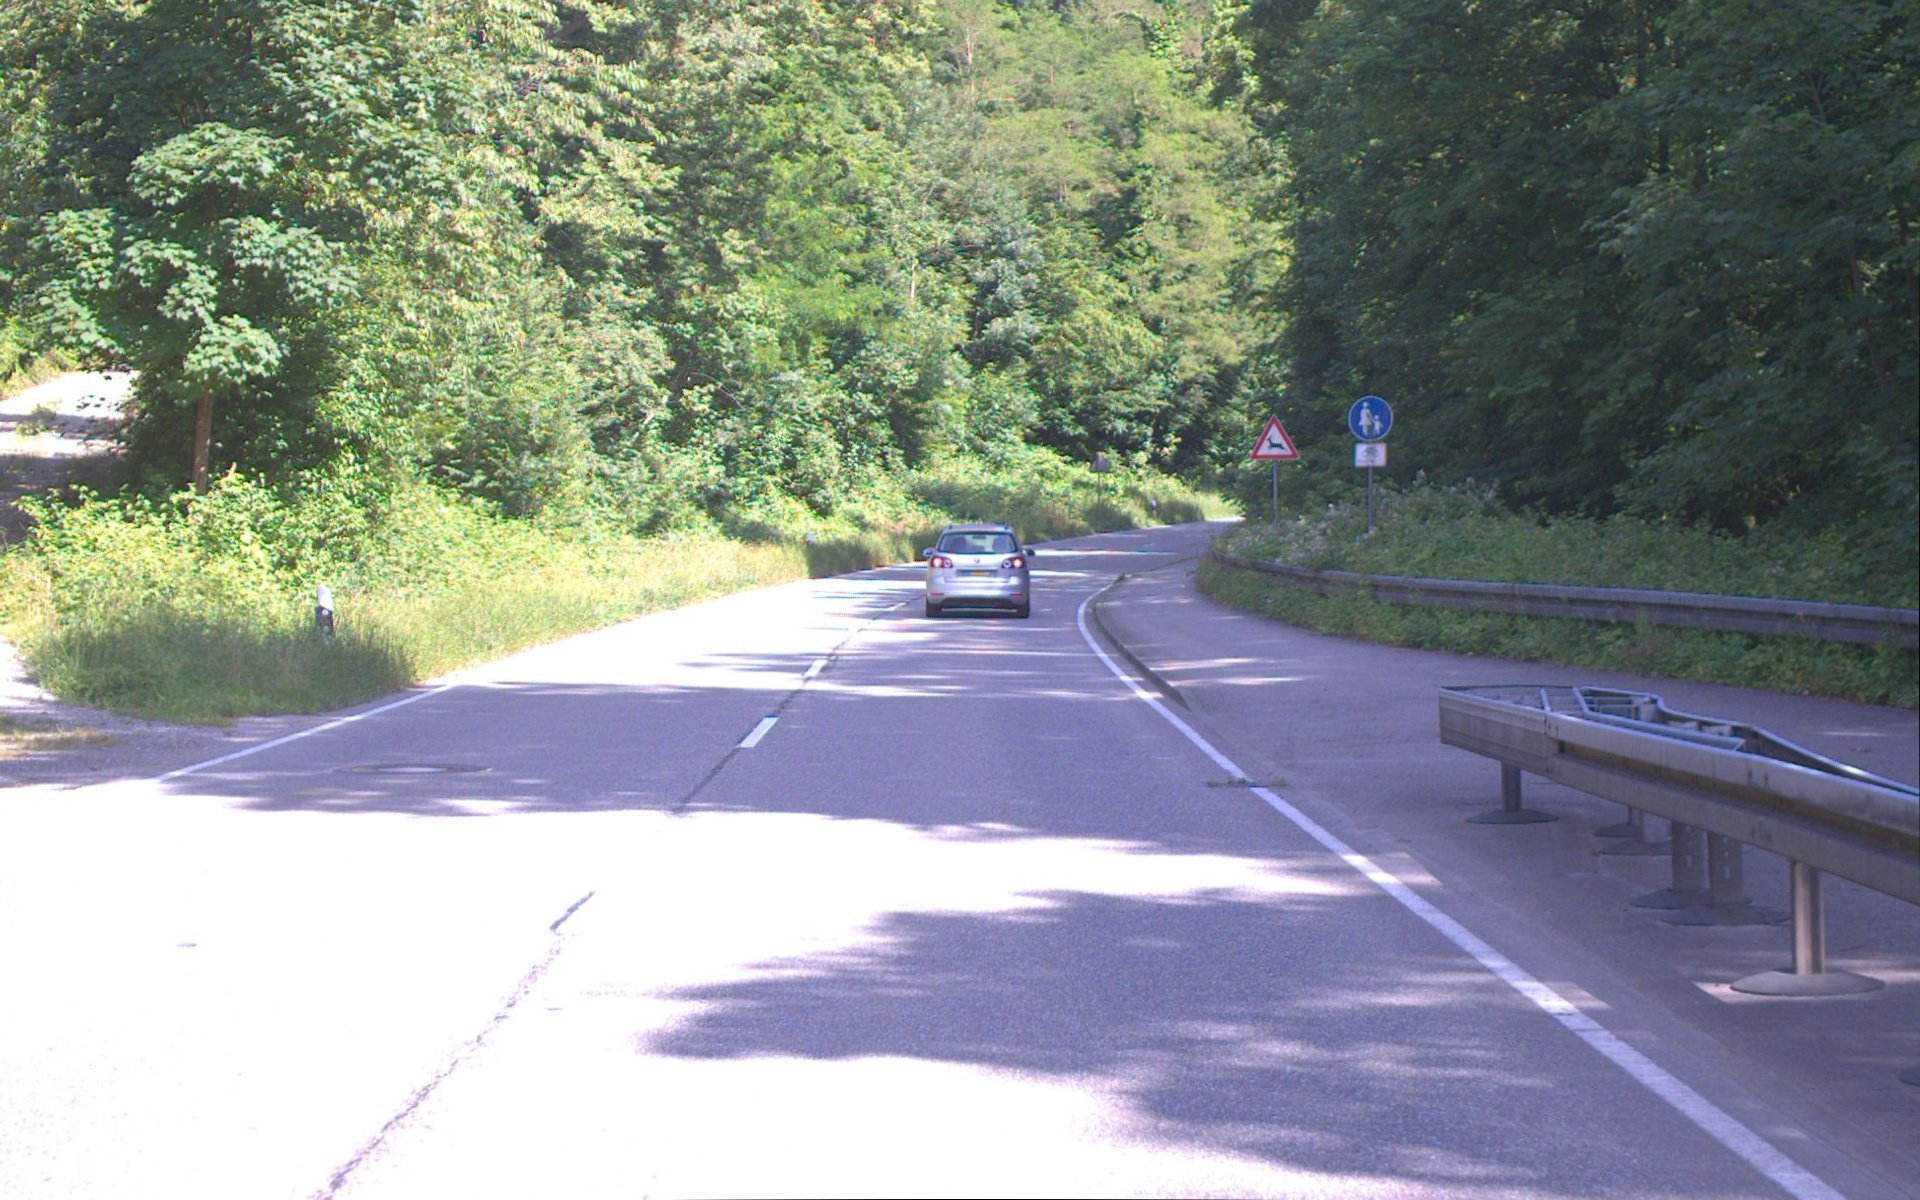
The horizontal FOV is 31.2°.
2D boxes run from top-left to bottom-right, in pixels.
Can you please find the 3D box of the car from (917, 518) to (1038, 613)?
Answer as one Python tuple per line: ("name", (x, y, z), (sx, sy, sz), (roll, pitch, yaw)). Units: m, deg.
("car", (0.328, -0.619, 58.559), (1.751, 1.514, 4.159), (1, 2, 4))
